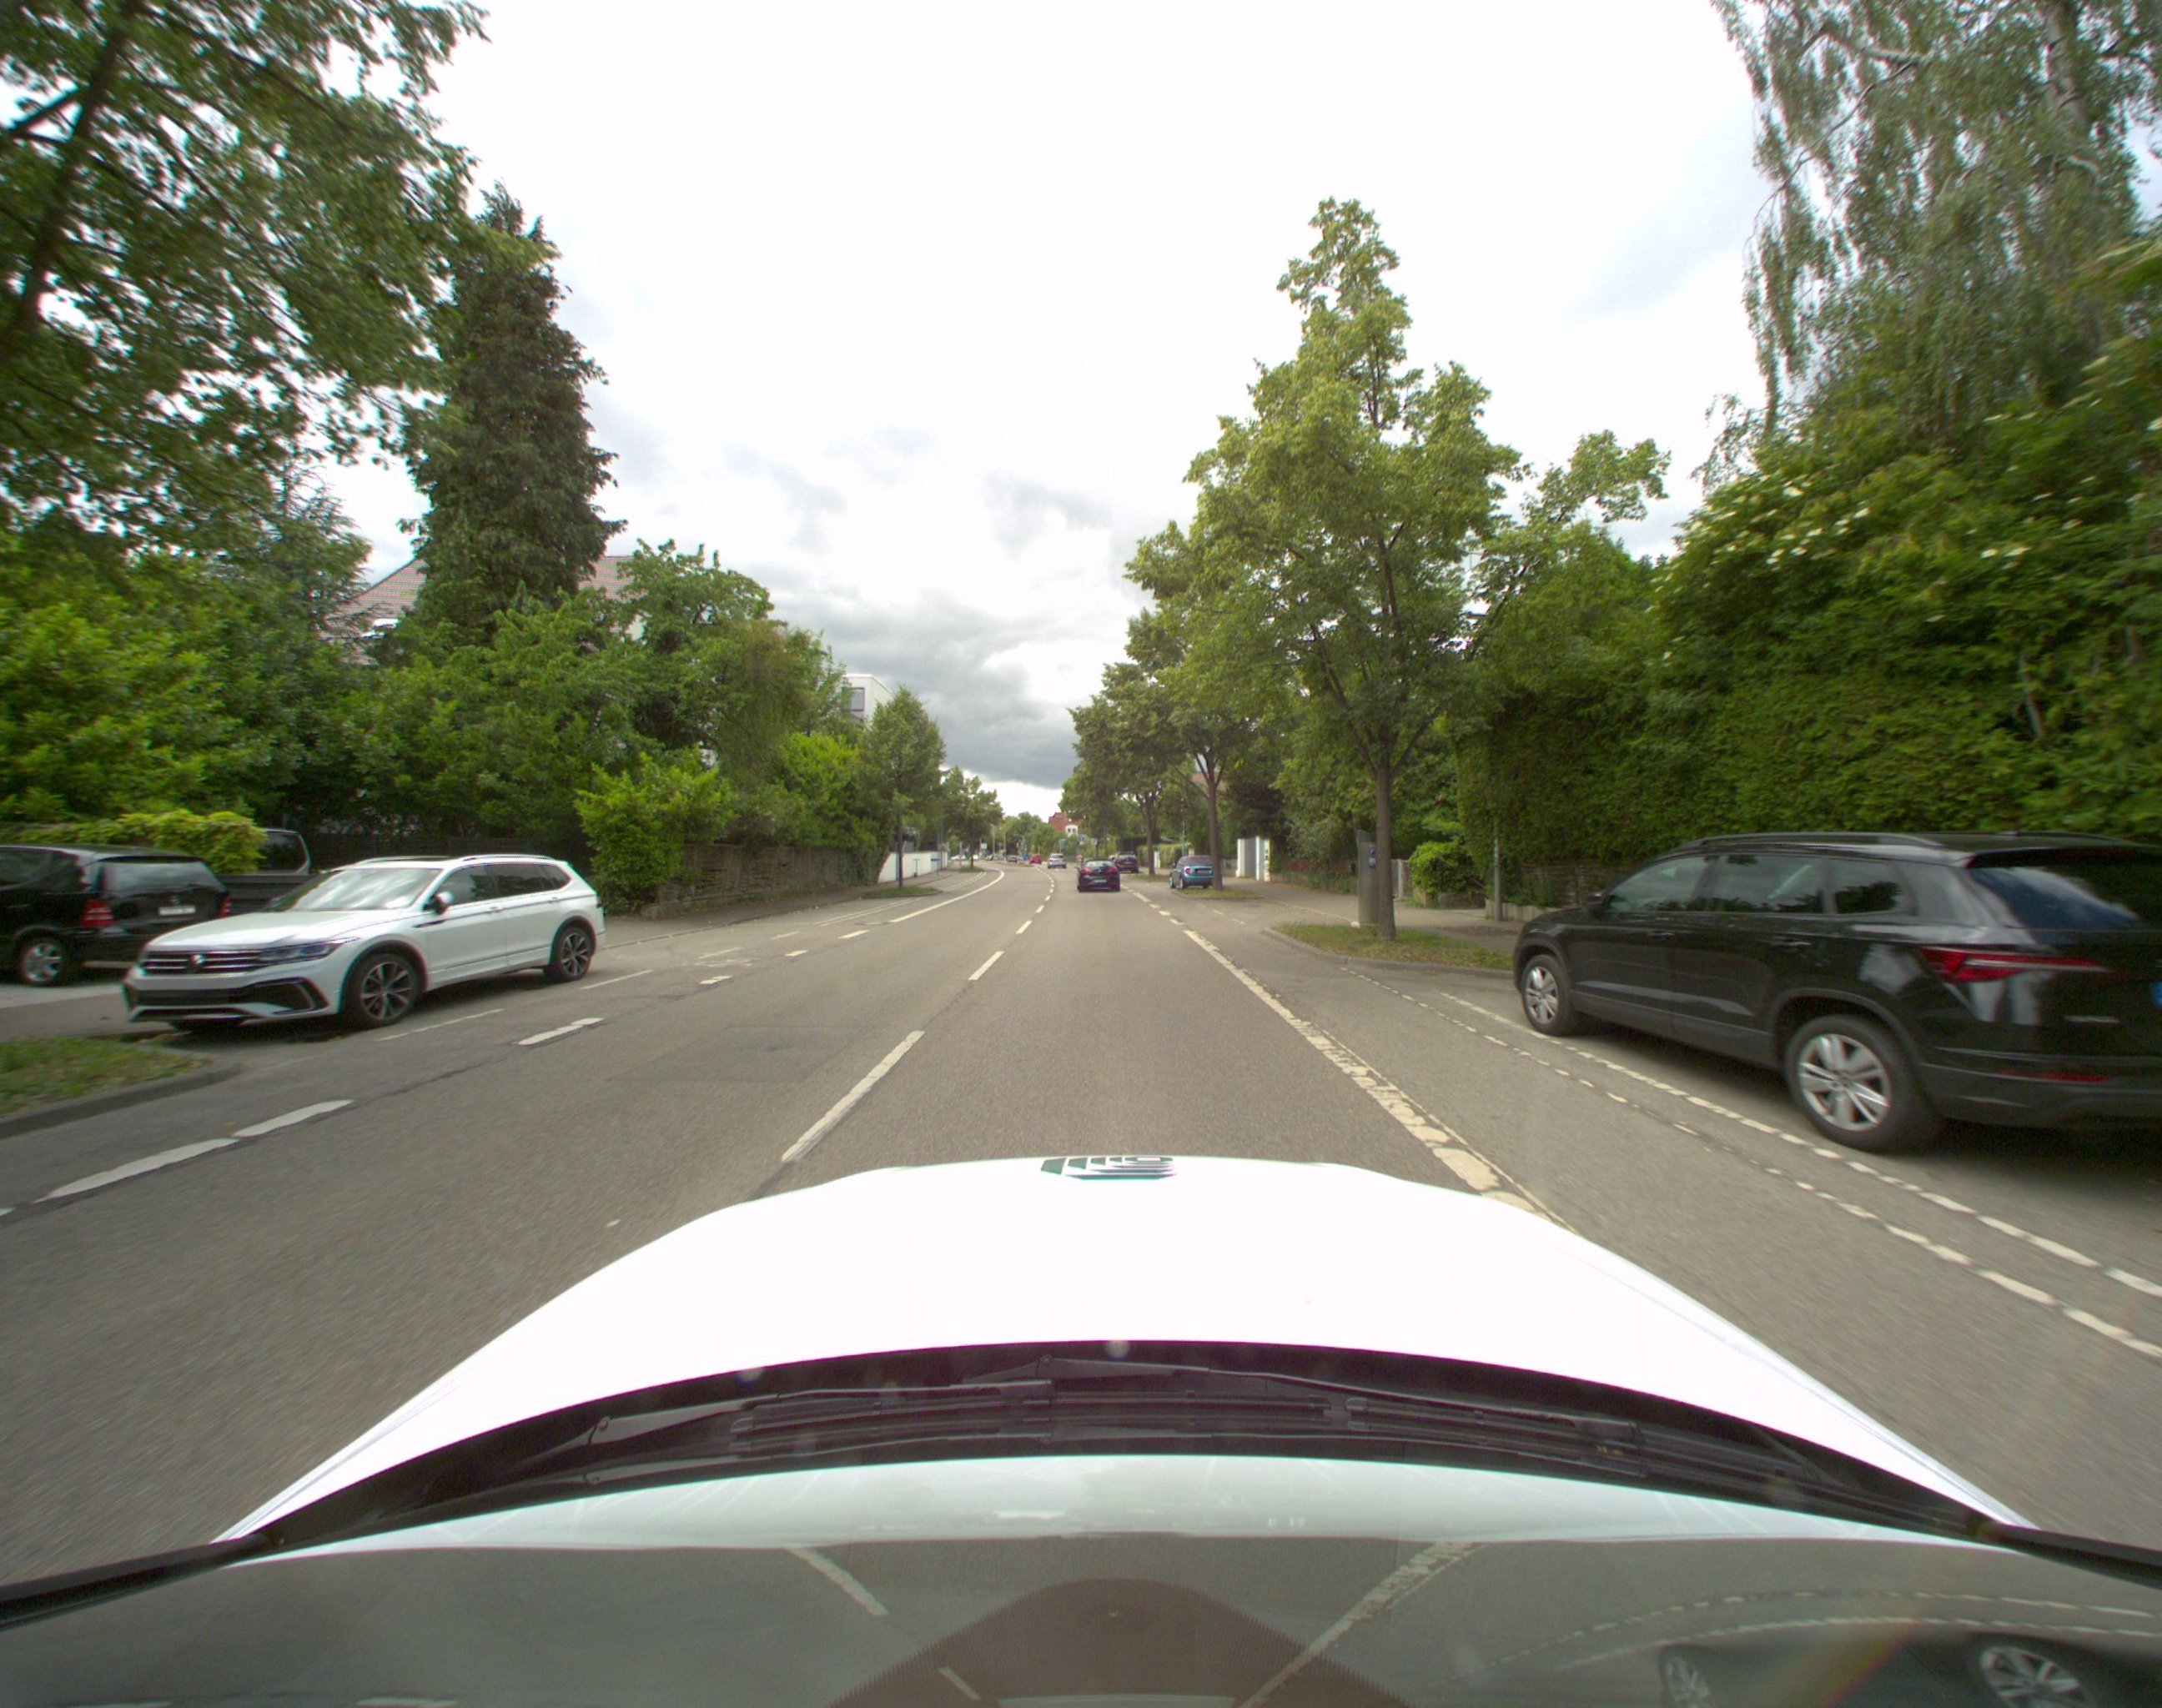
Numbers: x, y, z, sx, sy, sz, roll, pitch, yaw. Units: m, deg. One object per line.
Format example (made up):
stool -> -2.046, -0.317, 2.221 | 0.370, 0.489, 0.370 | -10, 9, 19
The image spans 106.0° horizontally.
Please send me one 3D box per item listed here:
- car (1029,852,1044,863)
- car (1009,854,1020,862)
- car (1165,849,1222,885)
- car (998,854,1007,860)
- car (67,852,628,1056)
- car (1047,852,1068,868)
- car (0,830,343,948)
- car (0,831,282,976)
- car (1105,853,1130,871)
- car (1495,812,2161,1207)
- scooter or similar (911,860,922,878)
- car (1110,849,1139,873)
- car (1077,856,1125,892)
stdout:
car -> -6.434, 0.540, 118.661 | 1.991, 1.530, 3.992 | -1, 0, -6
car -> -12.552, 0.819, 153.999 | 1.989, 1.508, 3.995 | 0, -1, -3
car -> 4.775, 0.543, 34.990 | 1.679, 1.432, 4.039 | -1, 0, -3
car -> -20.099, 0.759, 207.699 | 1.968, 1.675, 3.874 | 0, 0, -1
car -> -7.546, 0.846, 9.296 | 1.867, 1.688, 4.868 | -1, 0, 2
car -> -2.405, 0.586, 82.951 | 1.988, 1.558, 3.997 | -2, -1, -2
car -> -16.495, 0.599, 14.798 | 4.441, 1.936, 1.900 | -1, 0, 1
car -> -12.750, 0.577, 9.971 | 4.182, 1.585, 1.765 | -1, 0, 1
car -> 3.047, 0.683, 68.430 | 1.683, 1.449, 3.573 | -1, 0, -4
car -> 4.649, 0.638, 5.442 | 1.633, 1.615, 4.168 | 0, 0, 0
scooter or similar -> -10.534, 0.968, 52.250 | 0.500, 1.154, 1.299 | -1, 0, -3
car -> 3.314, 0.506, 62.662 | 1.784, 1.772, 3.978 | -1, 0, -3
car -> 0.887, 0.807, 34.858 | 1.774, 1.449, 3.563 | -1, 0, 5
